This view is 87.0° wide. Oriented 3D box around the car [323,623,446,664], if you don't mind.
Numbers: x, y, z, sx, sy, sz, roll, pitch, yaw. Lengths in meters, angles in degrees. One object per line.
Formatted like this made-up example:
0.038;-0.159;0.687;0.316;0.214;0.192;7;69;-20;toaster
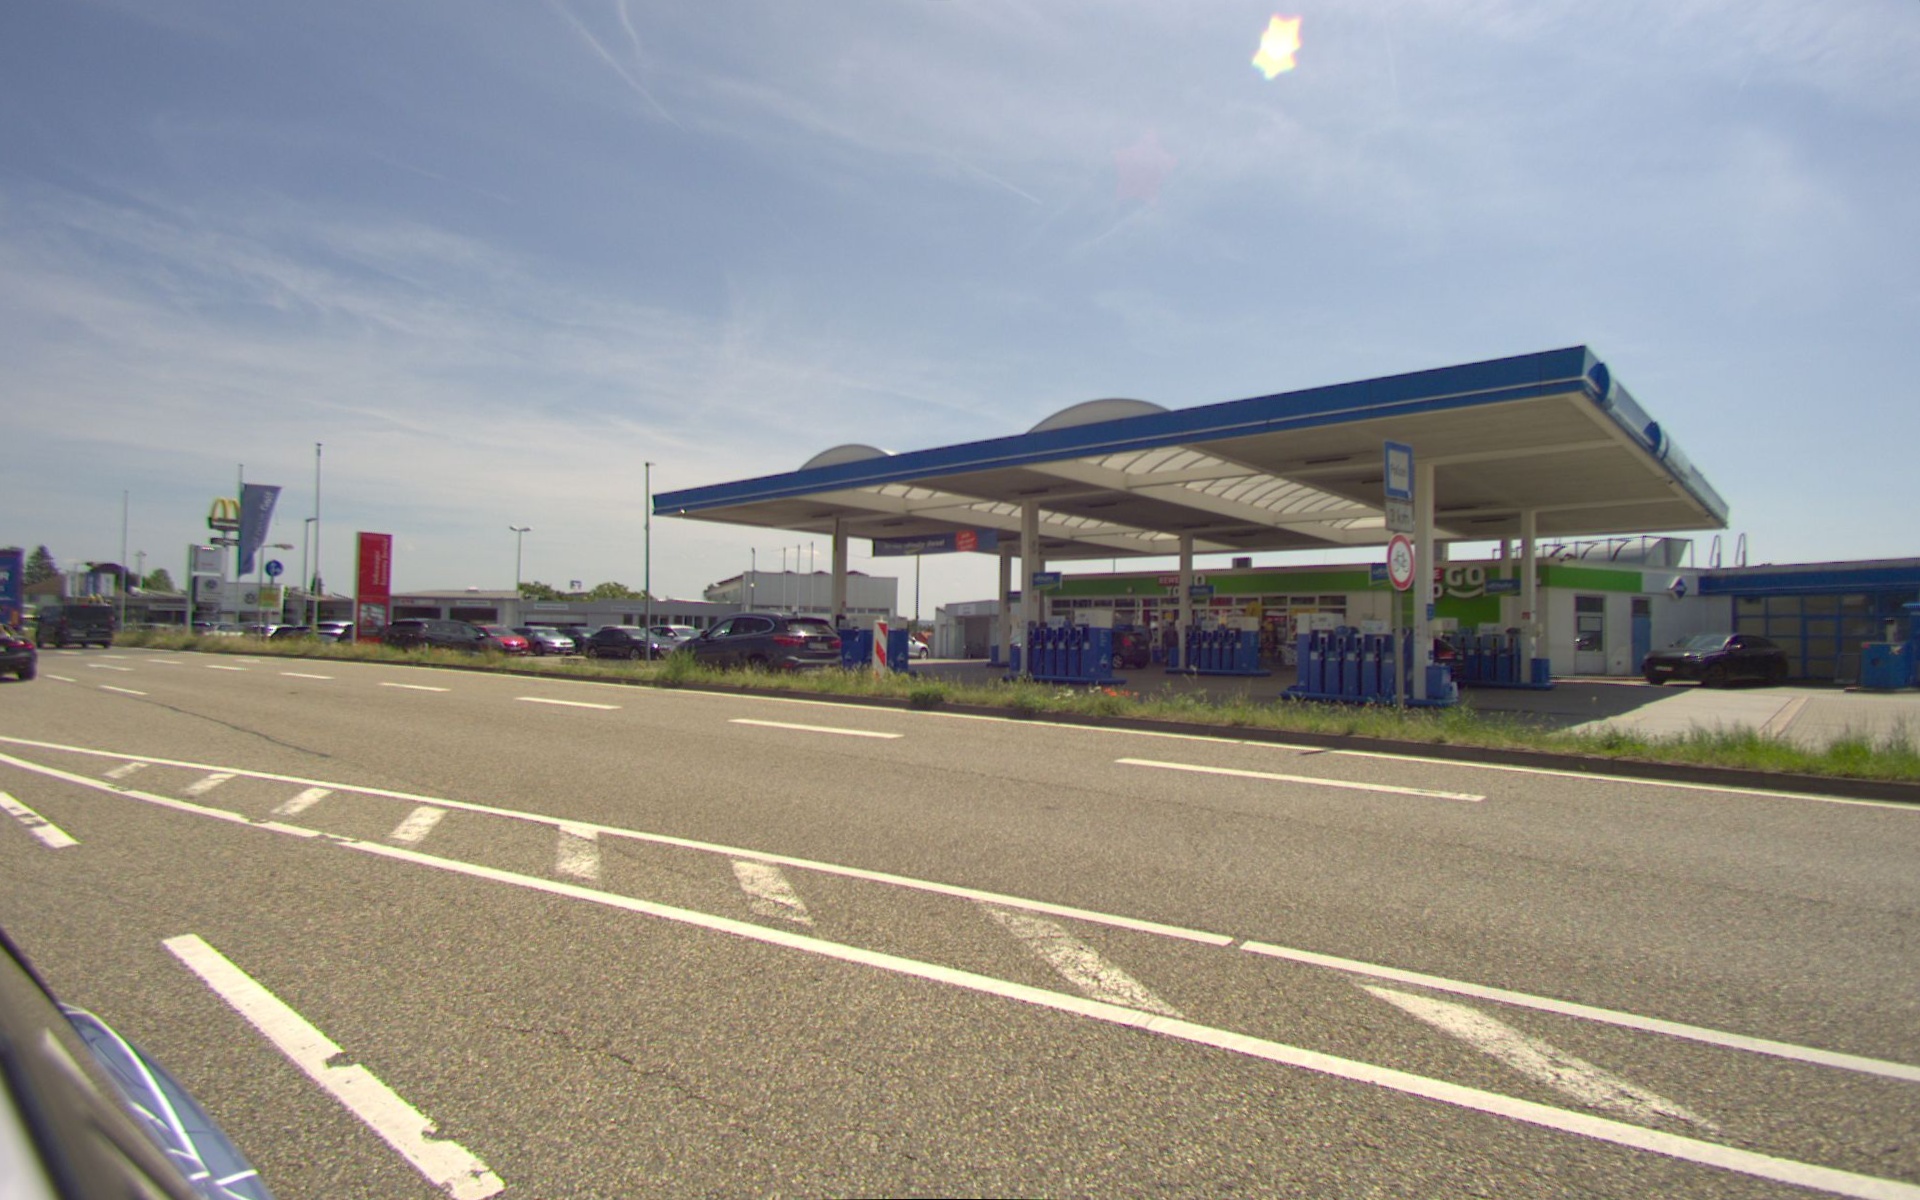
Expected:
-21.815;1.625;38.566;1.803;1.497;3.980;0;-2;15;car

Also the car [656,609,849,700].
-4.506;1.087;21.553;4.571;1.732;1.808;-1;-2;45;car

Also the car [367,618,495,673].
-17.764;1.475;34.221;1.821;1.717;3.989;0;-1;9;car

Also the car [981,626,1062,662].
3.001;2.101;48.625;1.947;1.652;3.946;-1;-2;40;car

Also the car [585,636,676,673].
-14.050;2.287;43.072;3.993;1.452;1.691;-1;-2;37;car

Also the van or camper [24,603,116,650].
-39.401;1.176;44.771;5.373;1.950;1.975;-1;-2;37;van or camper

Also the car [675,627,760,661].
-11.354;2.023;47.267;3.993;1.547;1.691;-1;-2;37;car

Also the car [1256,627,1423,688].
10.723;1.610;28.764;4.107;1.489;1.584;0;-6;43;car

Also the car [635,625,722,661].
-12.620;1.890;45.252;3.993;1.547;1.691;-1;-2;37;car

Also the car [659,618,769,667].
-10.108;1.754;41.766;2.000;1.918;3.944;-1;-3;42;car

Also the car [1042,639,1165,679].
5.533;2.258;39.365;4.379;1.389;1.973;-1;-2;40;car

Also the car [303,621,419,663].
-23.765;1.663;40.340;1.761;1.598;4.172;0;-2;8;car

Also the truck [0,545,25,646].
-44.726;-0.086;43.858;16.970;3.919;2.819;-1;-3;36;truck

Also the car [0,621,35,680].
-22.810;1.141;23.173;4.172;1.280;1.830;-1;0;39;car
